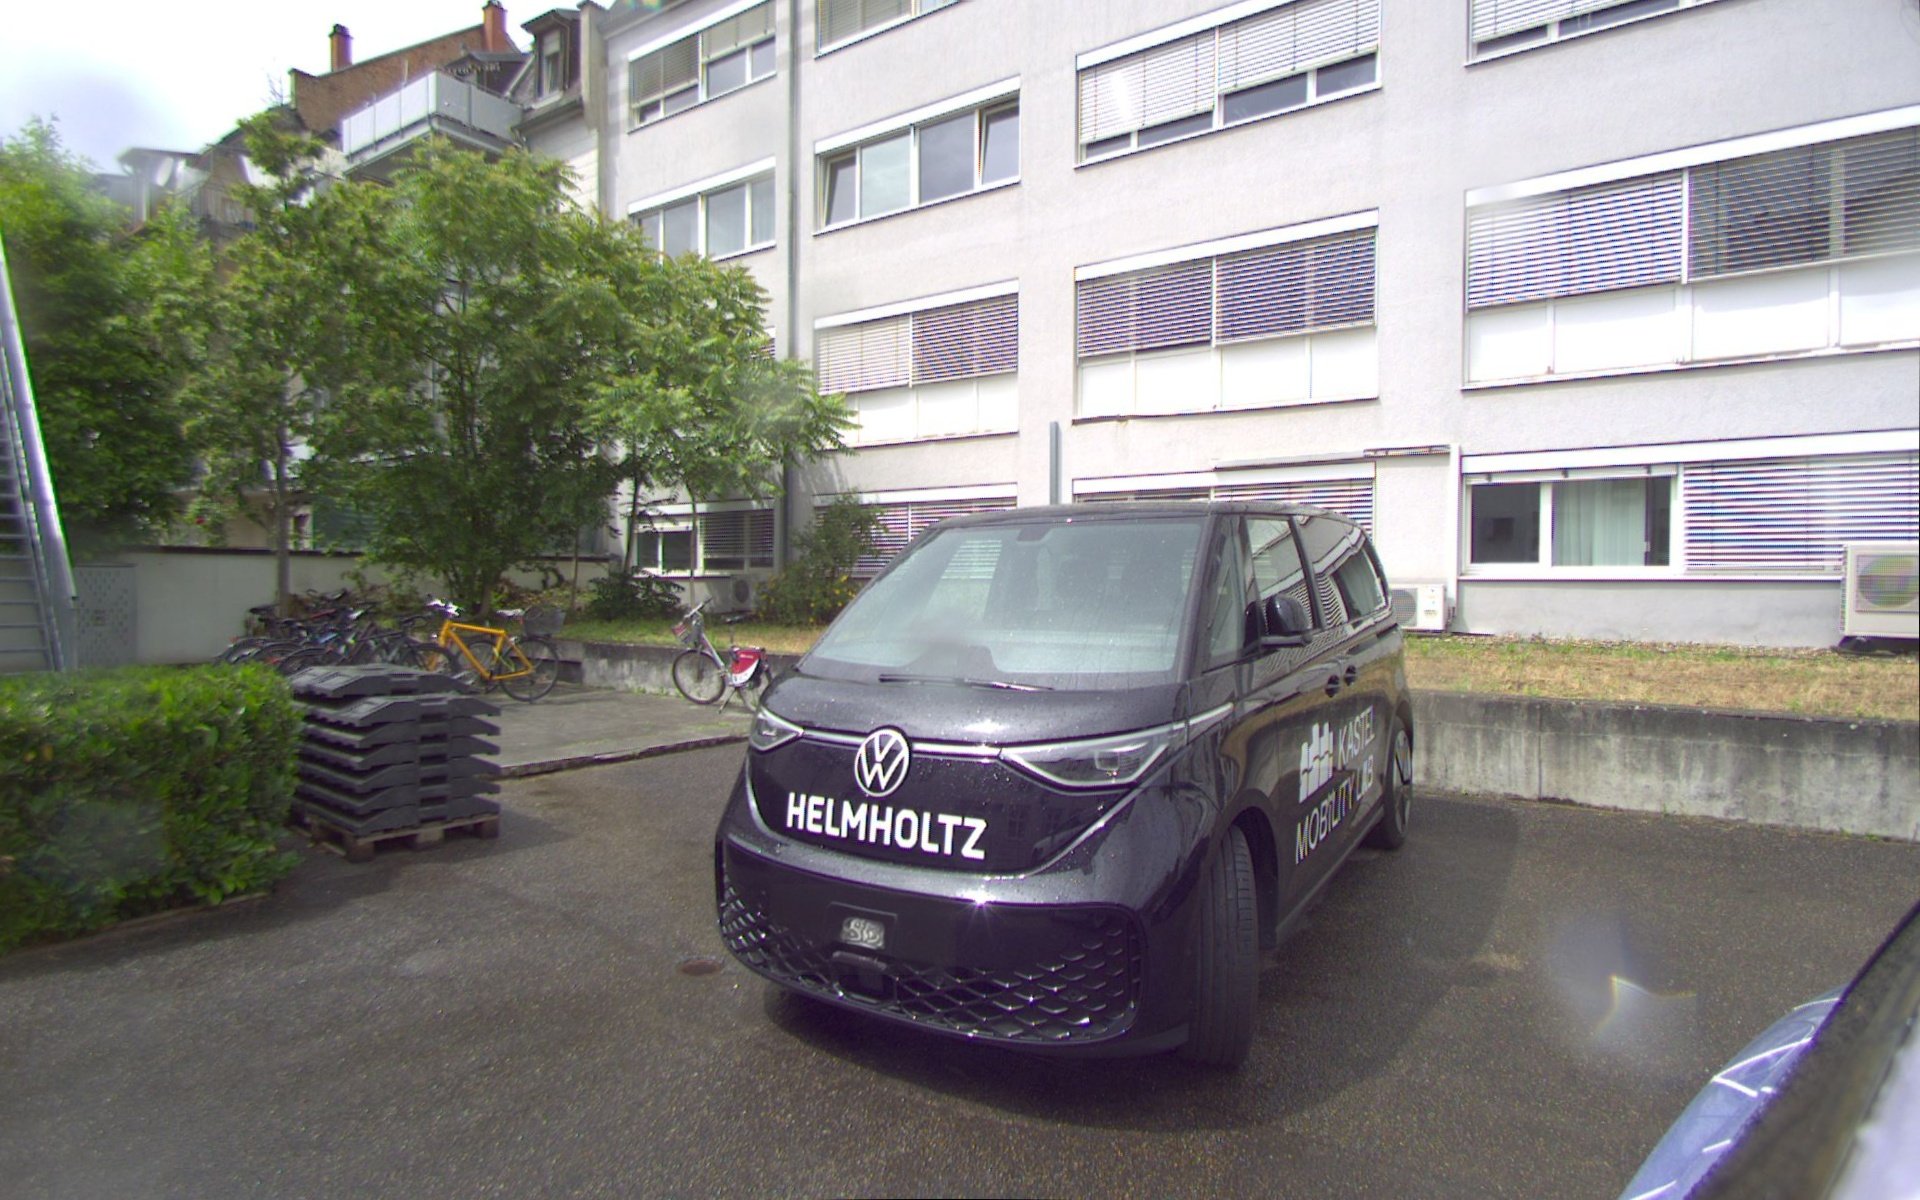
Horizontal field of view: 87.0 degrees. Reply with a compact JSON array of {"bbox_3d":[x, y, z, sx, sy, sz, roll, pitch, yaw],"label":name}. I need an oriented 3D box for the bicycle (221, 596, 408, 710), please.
[{"bbox_3d":[-6.956,0.530,10.995,0.330,1.117,1.734,1,1,34],"label":"bicycle"}]

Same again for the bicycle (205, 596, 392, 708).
[{"bbox_3d":[-7.253,0.529,11.185,0.340,1.117,1.734,1,1,34],"label":"bicycle"}]

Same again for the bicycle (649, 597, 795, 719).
[{"bbox_3d":[-2.498,0.559,10.512,1.787,1.117,0.441,2,4,38],"label":"bicycle"}]

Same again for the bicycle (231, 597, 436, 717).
[{"bbox_3d":[-6.381,0.537,10.396,0.353,1.117,1.769,1,1,42],"label":"bicycle"}]

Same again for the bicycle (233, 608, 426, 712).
[{"bbox_3d":[-6.670,0.601,10.810,0.327,0.979,1.775,1,1,34],"label":"bicycle"}]

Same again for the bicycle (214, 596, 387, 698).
[{"bbox_3d":[-7.834,0.517,12.094,0.353,1.117,1.734,1,1,34],"label":"bicycle"}]

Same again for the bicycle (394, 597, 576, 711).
[{"bbox_3d":[-5.063,0.533,10.878,0.365,1.117,1.769,2,1,42],"label":"bicycle"}]

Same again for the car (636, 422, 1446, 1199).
[{"bbox_3d":[0.973,0.440,4.924,1.956,1.888,4.693,0,2,33],"label":"car"}]

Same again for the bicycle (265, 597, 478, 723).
[{"bbox_3d":[-5.724,0.542,9.931,0.404,1.117,1.769,2,1,42],"label":"bicycle"}]

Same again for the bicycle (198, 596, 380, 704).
[{"bbox_3d":[-7.592,0.524,11.536,0.343,1.117,1.734,1,1,34],"label":"bicycle"}]
